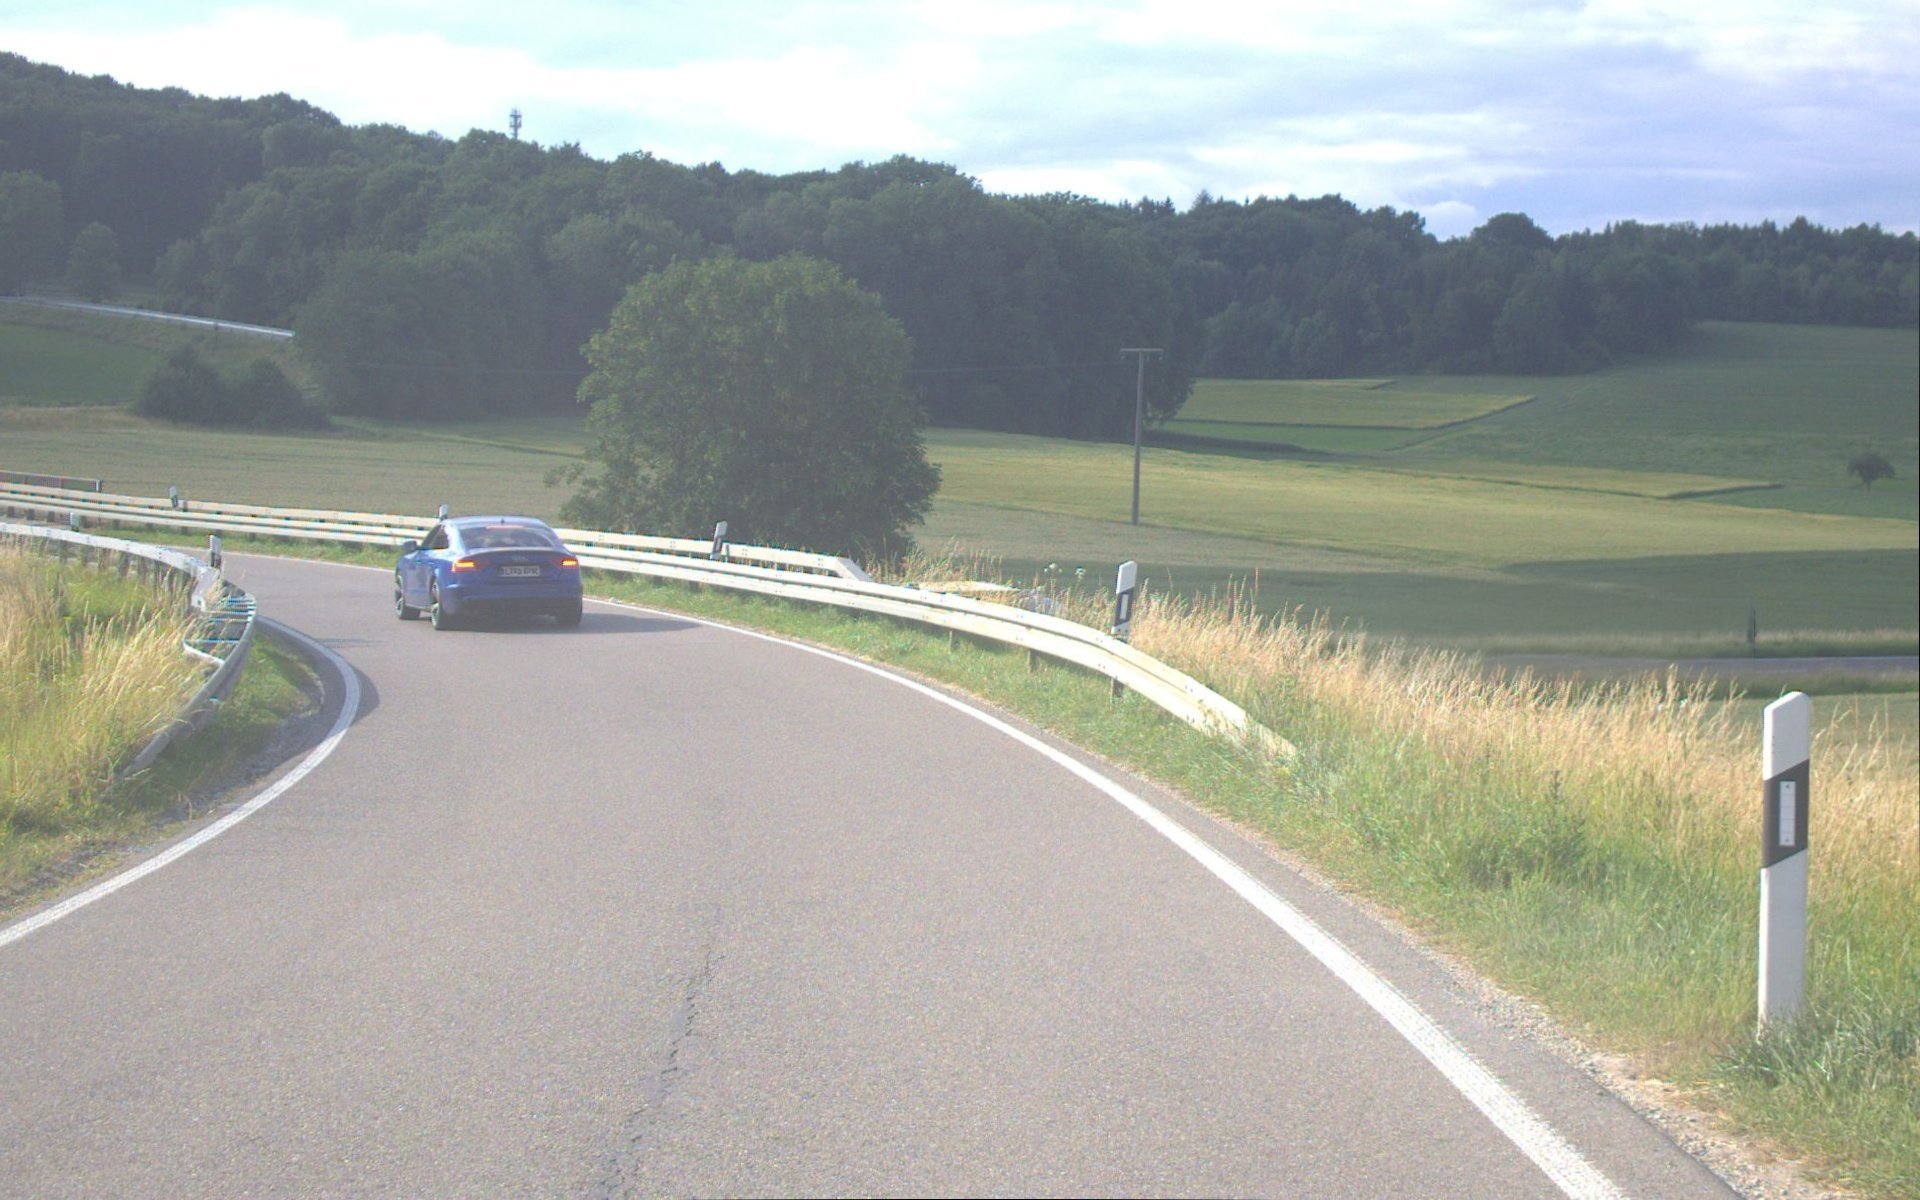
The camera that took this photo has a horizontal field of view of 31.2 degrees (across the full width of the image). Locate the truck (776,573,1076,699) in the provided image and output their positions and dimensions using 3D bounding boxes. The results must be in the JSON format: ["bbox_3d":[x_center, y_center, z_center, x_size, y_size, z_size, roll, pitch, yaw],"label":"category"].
[{"bbox_3d":[-1.103,1.191,117.065,9.771,4.046,3.837,0,1,-36],"label":"truck"}]

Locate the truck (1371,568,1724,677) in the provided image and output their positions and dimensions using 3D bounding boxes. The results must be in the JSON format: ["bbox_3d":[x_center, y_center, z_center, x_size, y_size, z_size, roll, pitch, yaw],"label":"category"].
[{"bbox_3d":[22.681,0.792,132.023,14.377,3.983,4.079,0,0,-33],"label":"truck"}]

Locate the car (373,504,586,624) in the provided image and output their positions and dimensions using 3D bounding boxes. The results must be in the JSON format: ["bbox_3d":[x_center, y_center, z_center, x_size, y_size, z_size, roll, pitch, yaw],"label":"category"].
[{"bbox_3d":[-6.176,-0.500,43.794,1.818,1.334,4.352,-1,3,-20],"label":"car"}]

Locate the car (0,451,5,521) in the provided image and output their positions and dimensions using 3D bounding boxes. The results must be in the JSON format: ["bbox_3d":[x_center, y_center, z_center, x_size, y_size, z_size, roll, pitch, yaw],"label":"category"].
[{"bbox_3d":[-23.382,-2.672,78.790,1.862,1.563,4.001,1,2,-31],"label":"car"}]
